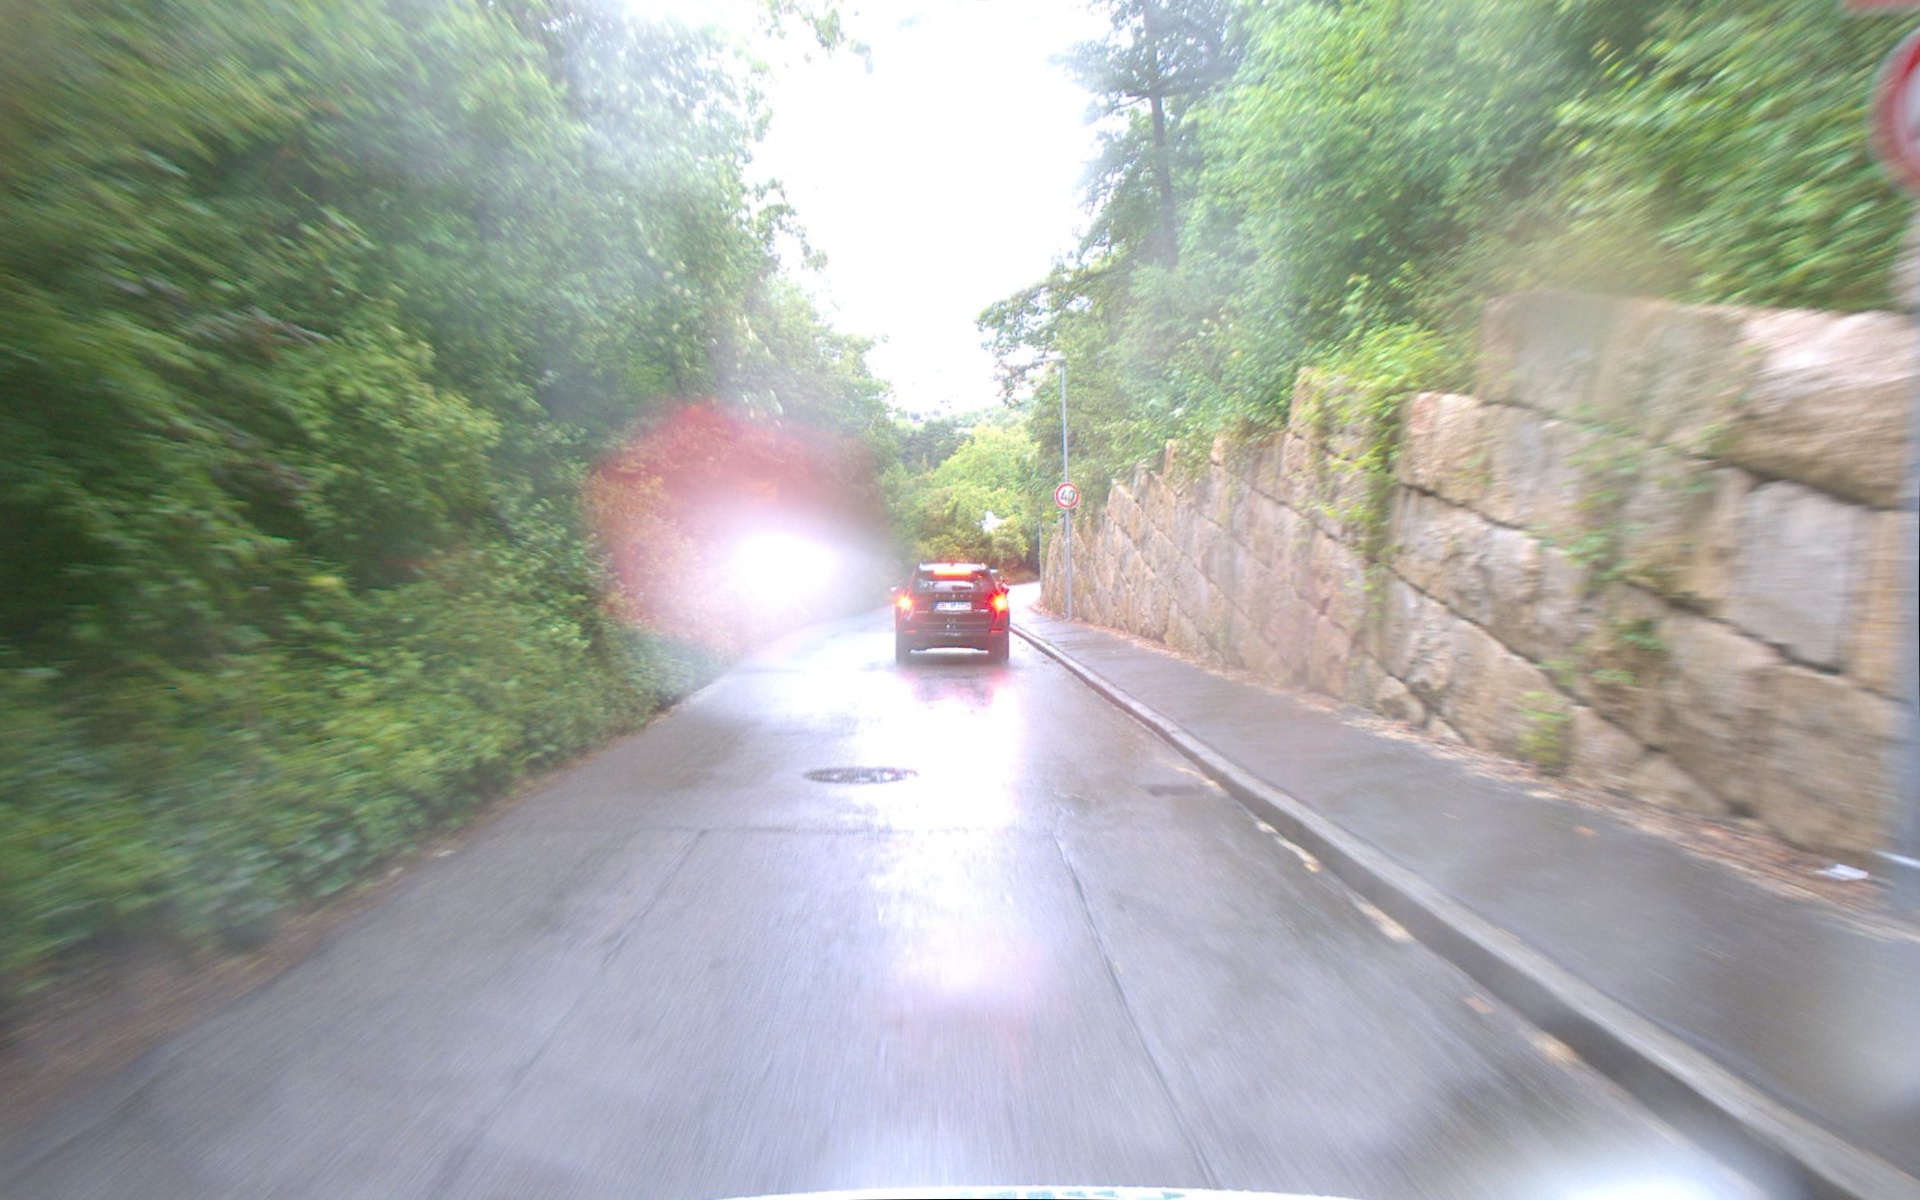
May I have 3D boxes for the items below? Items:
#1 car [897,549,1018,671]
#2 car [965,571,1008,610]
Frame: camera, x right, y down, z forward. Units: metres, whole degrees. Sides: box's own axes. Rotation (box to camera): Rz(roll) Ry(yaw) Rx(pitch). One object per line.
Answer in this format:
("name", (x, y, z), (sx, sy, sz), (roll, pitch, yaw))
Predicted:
("car", (-0.108, 0.082, 25.731), (1.666, 1.474, 4.000), (-2, 5, -3))
("car", (1.223, -0.452, 77.890), (1.825, 1.773, 3.999), (0, 1, -2))
